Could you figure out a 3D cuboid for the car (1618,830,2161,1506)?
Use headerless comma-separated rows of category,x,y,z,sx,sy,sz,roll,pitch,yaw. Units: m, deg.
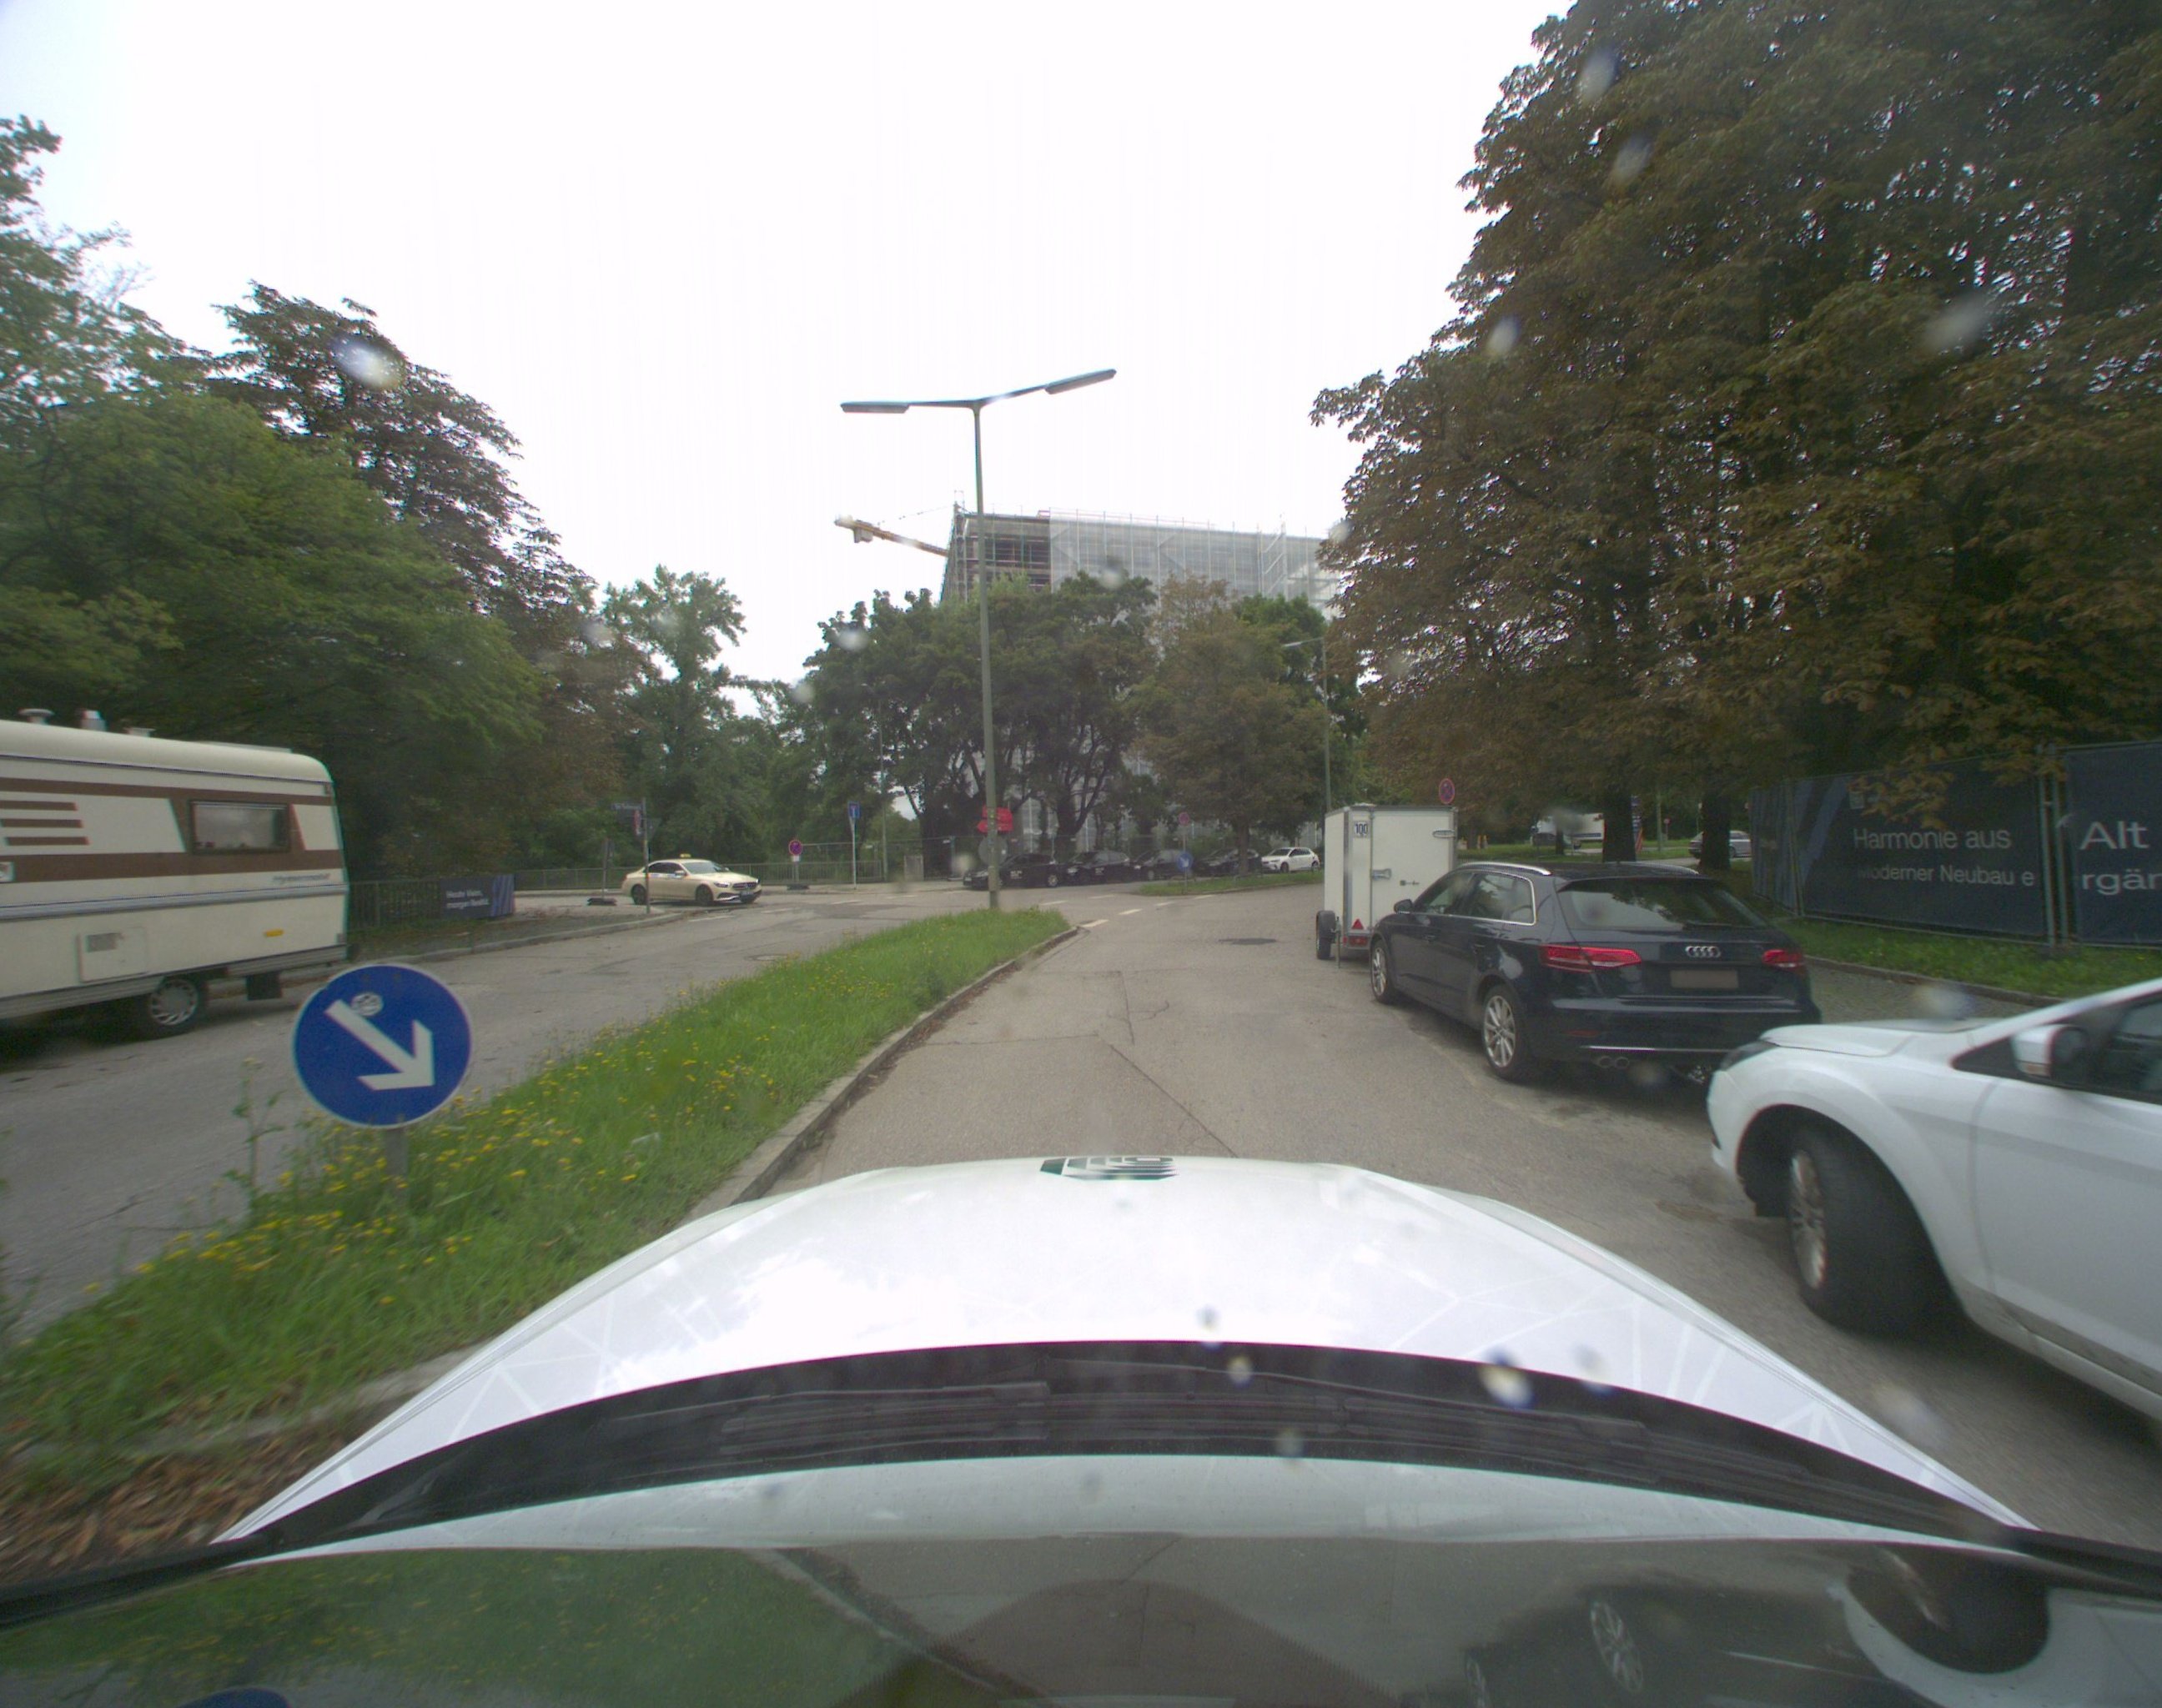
car,3.267,0.682,1.462,1.761,1.486,4.219,-2,0,-1

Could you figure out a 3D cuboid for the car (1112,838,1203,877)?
car,3.633,0.162,38.432,4.021,1.706,1.976,-2,0,-40

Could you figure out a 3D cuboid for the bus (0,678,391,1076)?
bus,-8.515,0.184,5.889,2.310,2.699,5.727,-2,0,-3

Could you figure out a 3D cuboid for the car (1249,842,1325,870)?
car,11.263,0.085,44.416,4.238,1.383,1.781,-2,0,-38

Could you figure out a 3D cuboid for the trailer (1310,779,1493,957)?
trailer,4.362,0.171,11.807,1.796,2.013,4.852,-2,0,14

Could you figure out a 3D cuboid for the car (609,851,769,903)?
car,-12.587,0.737,26.162,4.794,1.545,1.904,-1,0,23

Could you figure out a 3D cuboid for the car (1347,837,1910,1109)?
car,3.744,0.646,6.695,1.864,1.437,4.332,-3,0,3

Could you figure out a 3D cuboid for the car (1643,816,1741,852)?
car,31.675,-1.038,42.272,4.120,1.750,1.989,-2,0,-16

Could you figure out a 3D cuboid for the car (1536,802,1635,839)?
car,51.931,-3.412,84.215,3.093,3.448,8.666,-2,0,-18

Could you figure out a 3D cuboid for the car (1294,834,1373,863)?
car,14.680,-0.286,47.294,4.408,1.606,1.874,0,-1,-29

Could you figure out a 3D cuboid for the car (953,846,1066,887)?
car,-2.795,0.436,32.310,4.063,1.432,1.977,-2,2,-40

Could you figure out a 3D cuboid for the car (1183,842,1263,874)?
car,7.270,0.189,41.522,4.027,1.461,1.819,-2,0,-40

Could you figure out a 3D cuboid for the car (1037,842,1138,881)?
car,0.323,0.307,35.084,4.021,1.541,1.976,-2,0,-40
